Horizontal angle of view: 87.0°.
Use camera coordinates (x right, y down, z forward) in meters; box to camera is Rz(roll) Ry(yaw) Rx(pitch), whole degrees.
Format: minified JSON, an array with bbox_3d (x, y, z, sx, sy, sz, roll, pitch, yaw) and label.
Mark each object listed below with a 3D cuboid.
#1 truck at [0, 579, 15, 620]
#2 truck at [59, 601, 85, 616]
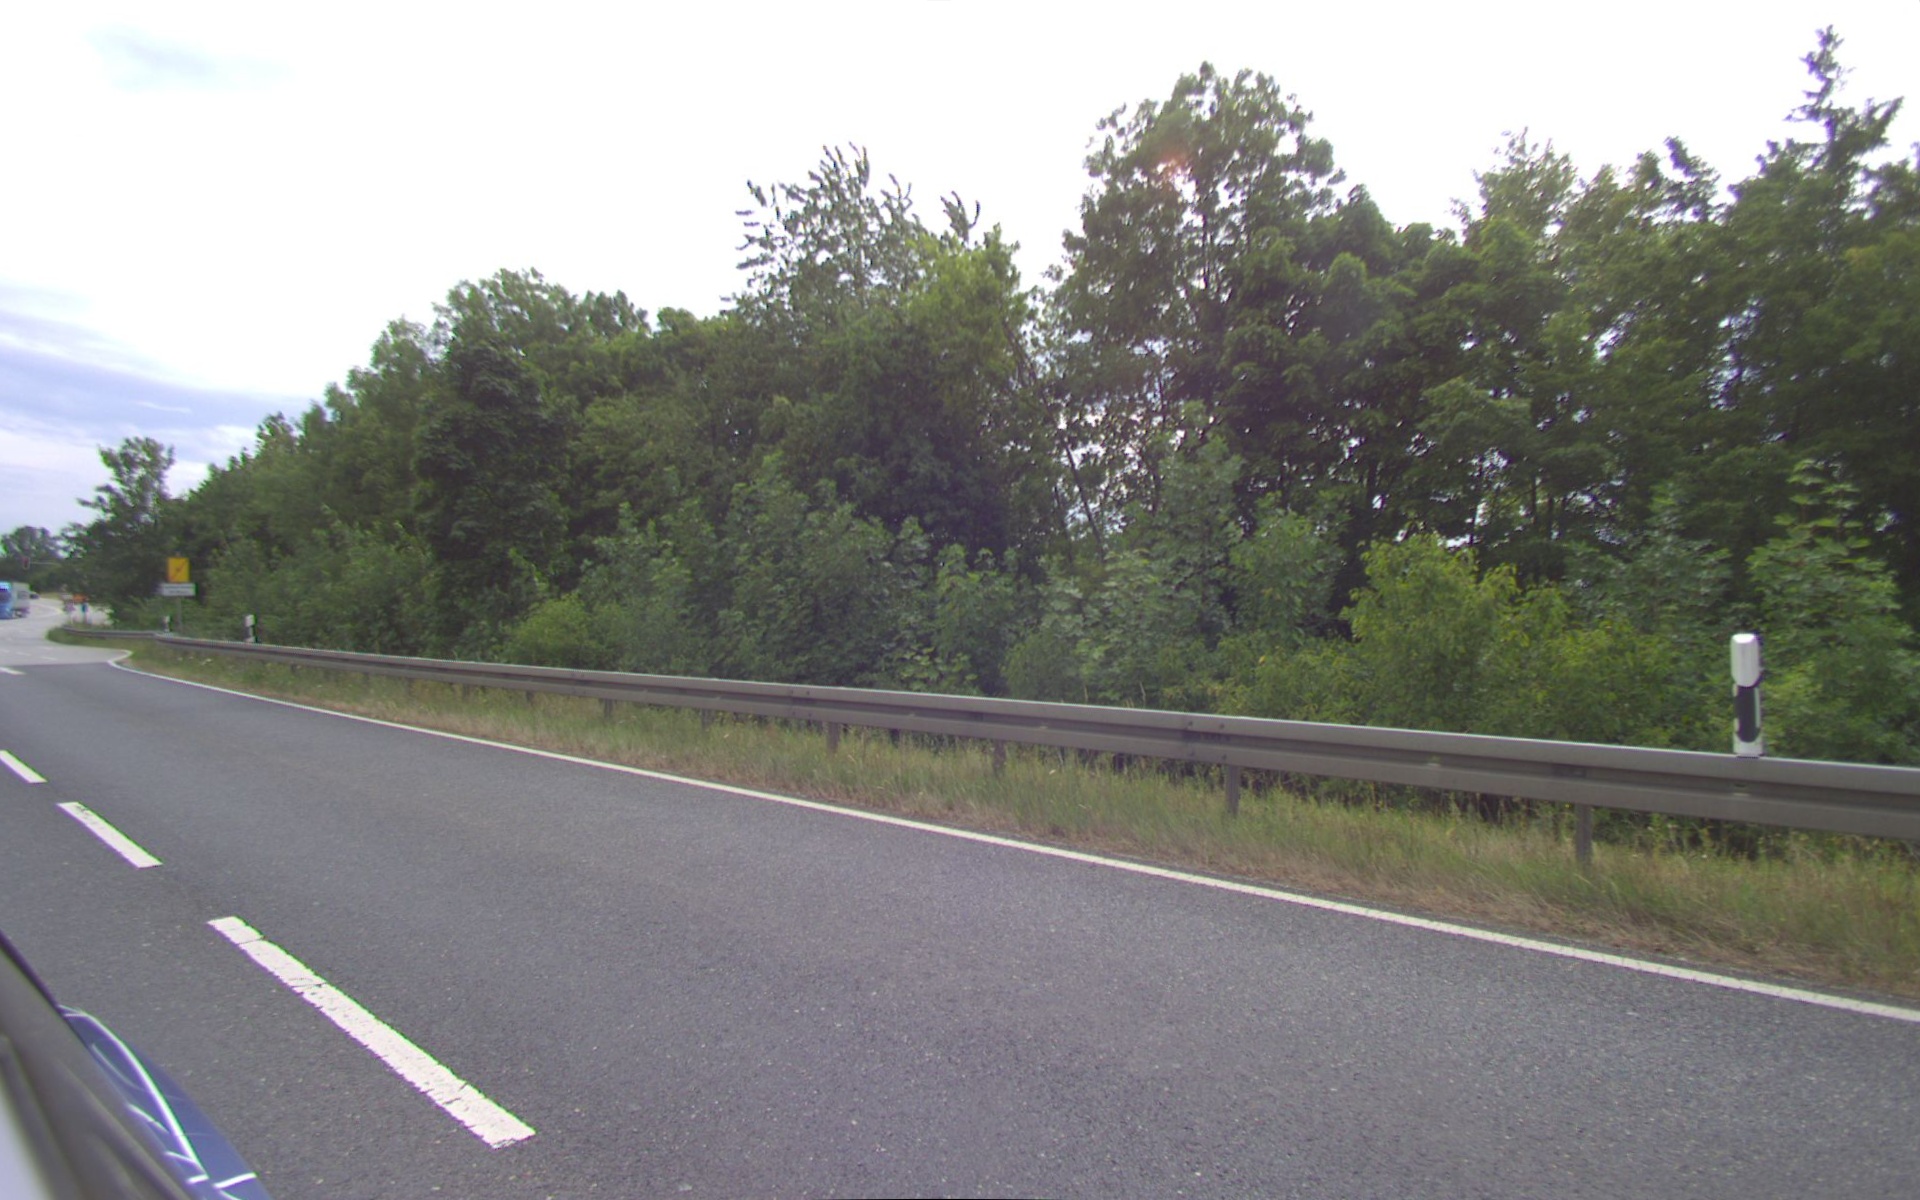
[{"bbox_3d":[-106.633,-0.089,111.611,2.982,4.383,9.585,4,-3,-41],"label":"truck"},{"bbox_3d":[-159.015,1.518,181.172,6.016,2.621,2.293,0,-3,39],"label":"truck"}]
